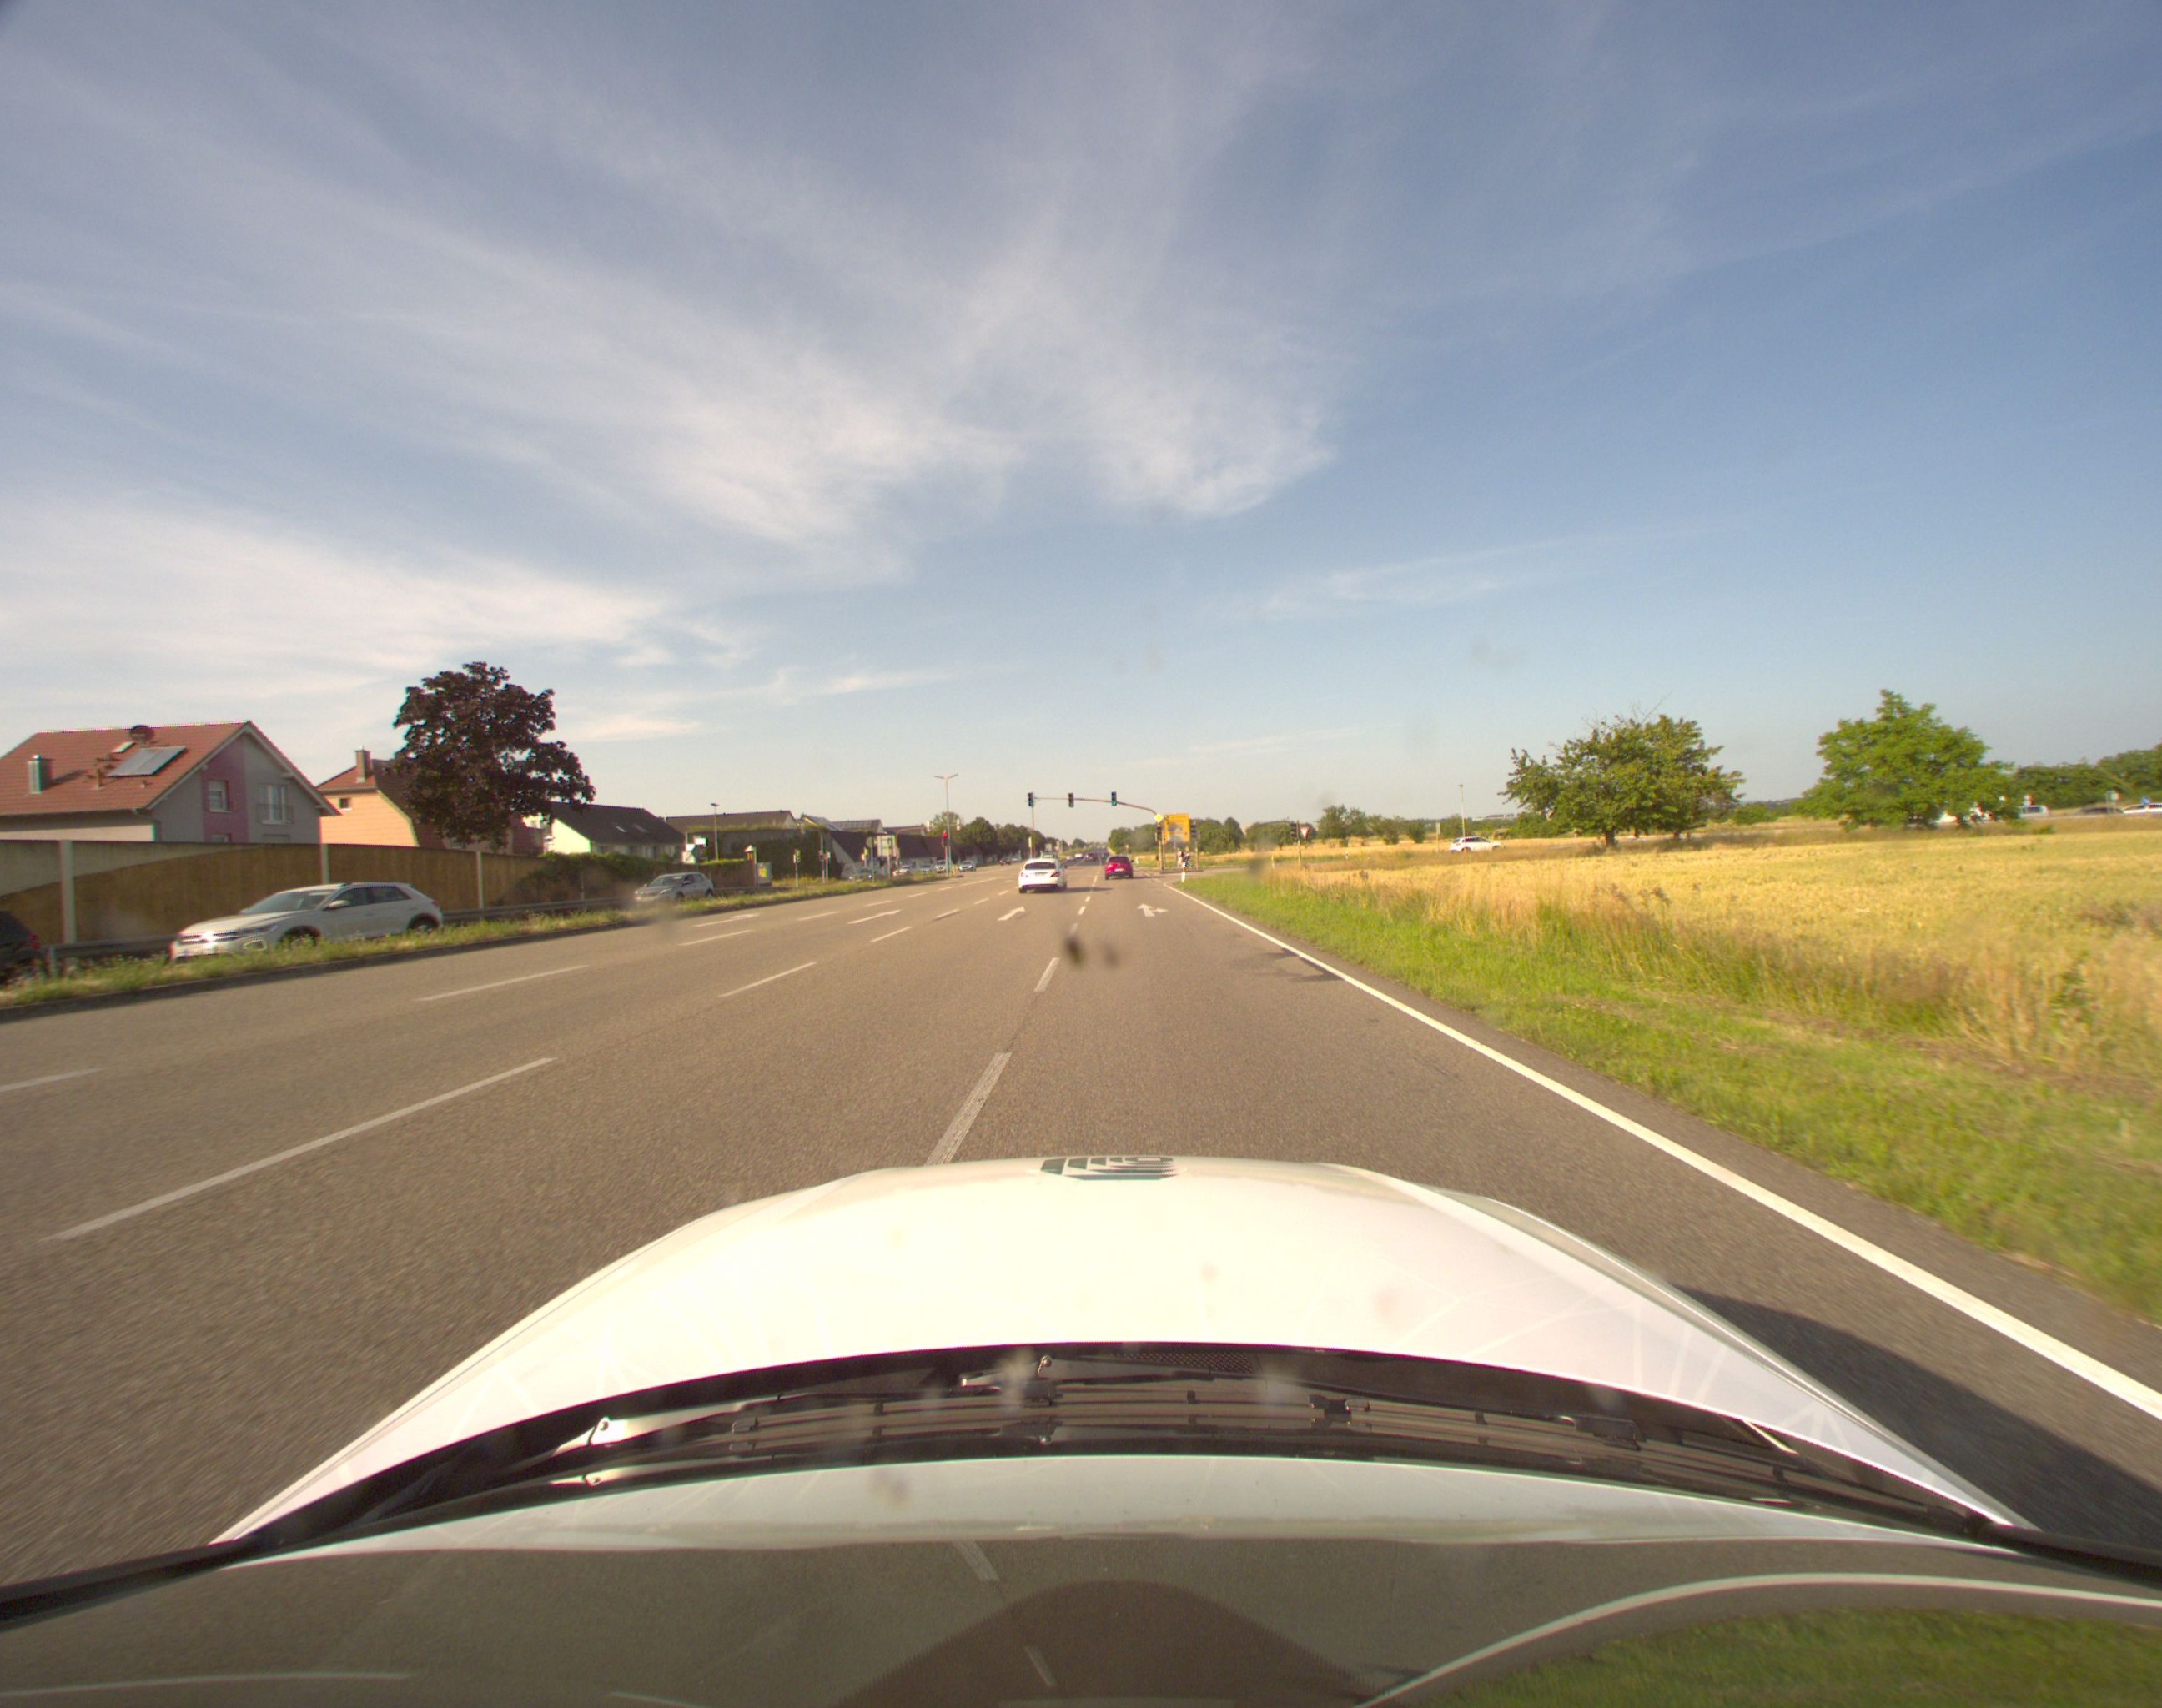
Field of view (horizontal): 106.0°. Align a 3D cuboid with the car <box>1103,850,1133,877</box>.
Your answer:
[{"bbox_3d":[2.351,0.578,51.537,1.747,1.517,4.003,-3,0,3],"label":"car"}]

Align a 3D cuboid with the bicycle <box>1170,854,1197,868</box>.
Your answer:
[{"bbox_3d":[8.153,0.528,64.747,2.086,1.089,0.809,-1,0,5],"label":"bicycle"}]

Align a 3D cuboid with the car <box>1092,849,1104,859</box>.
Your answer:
[{"bbox_3d":[3.056,0.006,145.857,1.831,1.684,4.005,-1,0,4],"label":"car"}]

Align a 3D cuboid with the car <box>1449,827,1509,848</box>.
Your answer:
[{"bbox_3d":[32.274,-1.332,66.141,3.967,1.598,1.864,-1,0,6],"label":"car"}]

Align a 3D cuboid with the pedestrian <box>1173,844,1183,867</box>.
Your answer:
[{"bbox_3d":[7.517,0.109,62.922,0.707,1.751,0.864,-1,0,4],"label":"pedestrian"}]

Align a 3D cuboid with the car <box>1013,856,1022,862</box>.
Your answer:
[{"bbox_3d":[-14.704,1.165,189.108,1.988,1.497,3.998,-1,0,-1],"label":"car"}]

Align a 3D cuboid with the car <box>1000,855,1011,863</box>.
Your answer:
[{"bbox_3d":[-14.674,1.001,158.368,1.818,1.508,3.795,-1,0,-1],"label":"car"}]

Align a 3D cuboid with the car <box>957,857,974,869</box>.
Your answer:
[{"bbox_3d":[-15.686,1.223,110.594,1.779,1.437,4.355,-1,0,-1],"label":"car"}]

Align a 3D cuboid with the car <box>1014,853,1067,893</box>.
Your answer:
[{"bbox_3d":[-1.649,0.760,34.814,1.887,1.509,4.002,-2,0,2],"label":"car"}]

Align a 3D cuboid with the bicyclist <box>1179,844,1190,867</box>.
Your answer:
[{"bbox_3d":[8.232,0.118,64.725,0.844,1.755,0.799,-1,0,3],"label":"bicyclist"}]

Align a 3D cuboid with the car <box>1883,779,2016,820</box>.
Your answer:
[{"bbox_3d":[67.360,-4.196,63.307,6.966,2.795,2.328,-1,0,14],"label":"car"}]

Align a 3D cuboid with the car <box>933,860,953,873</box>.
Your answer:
[{"bbox_3d":[-19.178,1.713,113.337,1.990,1.687,4.577,-1,0,1],"label":"car"}]

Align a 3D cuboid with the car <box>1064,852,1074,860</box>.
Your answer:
[{"bbox_3d":[-2.409,0.469,158.566,1.710,1.492,3.587,-1,0,2],"label":"car"}]

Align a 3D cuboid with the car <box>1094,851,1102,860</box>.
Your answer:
[{"bbox_3d":[3.501,0.311,167.946,1.704,1.736,3.869,-1,0,1],"label":"car"}]

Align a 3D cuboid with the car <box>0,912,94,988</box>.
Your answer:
[{"bbox_3d":[-18.698,1.653,13.250,1.468,1.164,3.064,-1,0,3],"label":"car"}]

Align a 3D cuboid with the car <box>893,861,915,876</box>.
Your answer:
[{"bbox_3d":[-21.555,1.763,99.204,1.884,1.618,3.854,-1,0,-1],"label":"car"}]

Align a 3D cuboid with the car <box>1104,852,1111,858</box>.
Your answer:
[{"bbox_3d":[5.604,0.131,175.147,1.433,1.284,2.916,-1,0,3],"label":"car"}]

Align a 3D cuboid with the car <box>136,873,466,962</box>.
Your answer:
[{"bbox_3d":[-14.904,1.121,16.058,1.866,1.321,4.715,-1,0,2],"label":"car"}]

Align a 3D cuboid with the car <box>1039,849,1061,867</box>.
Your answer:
[{"bbox_3d":[-3.448,0.454,91.728,2.017,1.891,4.962,-1,1,3],"label":"car"}]

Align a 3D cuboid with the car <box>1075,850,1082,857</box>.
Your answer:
[{"bbox_3d":[-0.594,-0.066,191.543,1.771,1.665,3.661,-1,0,-1],"label":"car"}]

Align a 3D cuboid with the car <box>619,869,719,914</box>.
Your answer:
[{"bbox_3d":[-17.994,1.589,35.838,1.970,1.665,4.591,-1,0,1],"label":"car"}]

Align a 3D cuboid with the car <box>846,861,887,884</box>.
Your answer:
[{"bbox_3d":[-16.976,1.427,64.618,1.715,1.628,4.662,-1,0,3],"label":"car"}]
